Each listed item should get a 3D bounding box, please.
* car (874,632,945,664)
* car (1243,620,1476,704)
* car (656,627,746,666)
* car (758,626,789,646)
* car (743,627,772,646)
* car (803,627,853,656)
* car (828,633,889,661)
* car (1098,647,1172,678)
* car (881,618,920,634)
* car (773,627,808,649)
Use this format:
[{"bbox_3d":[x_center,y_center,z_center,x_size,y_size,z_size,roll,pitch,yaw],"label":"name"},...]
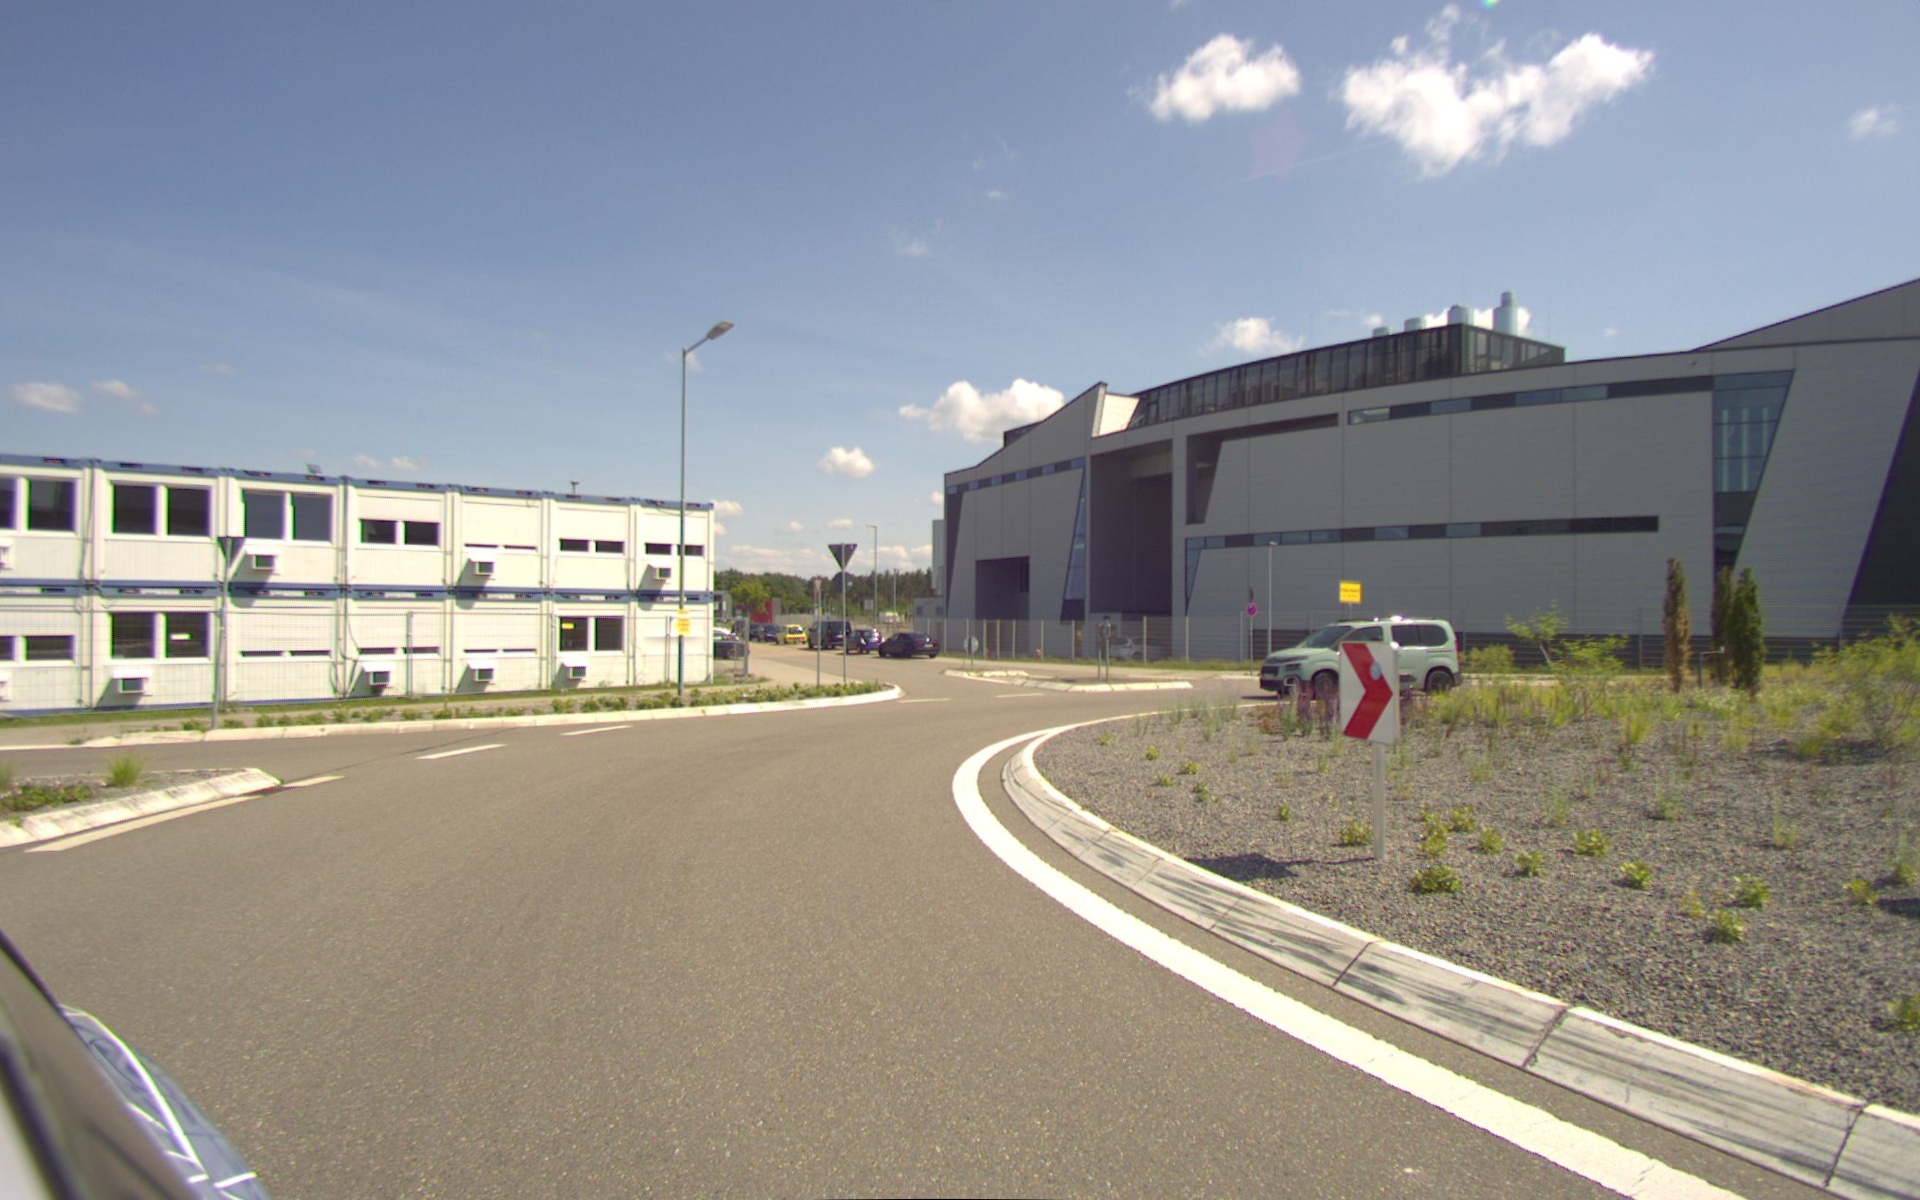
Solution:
[{"bbox_3d":[-2.797,2.595,55.425,1.966,1.561,4.325,1,-1,-34],"label":"car"},{"bbox_3d":[8.999,1.369,23.014,4.488,1.793,2.003,0,-2,-8],"label":"car"},{"bbox_3d":[-13.115,2.339,51.238,4.239,1.881,2.006,0,-1,-20],"label":"car"},{"bbox_3d":[-15.155,2.913,82.079,1.966,1.561,4.327,0,-1,-18],"label":"car"},{"bbox_3d":[-17.455,3.109,87.199,1.966,1.561,4.327,0,-1,-18],"label":"car"},{"bbox_3d":[-8.916,2.760,67.900,1.965,1.845,4.328,1,-1,-27],"label":"car"},{"bbox_3d":[-6.195,2.832,61.556,1.966,1.561,4.326,1,-1,-33],"label":"car"},{"bbox_3d":[10.777,3.801,62.144,4.241,1.703,2.006,1,-1,-33],"label":"car"},{"bbox_3d":[-7.150,3.124,121.072,4.241,1.881,2.006,1,-1,-33],"label":"car"},{"bbox_3d":[-13.017,2.871,77.515,1.966,1.561,4.327,0,-1,-18],"label":"car"}]
